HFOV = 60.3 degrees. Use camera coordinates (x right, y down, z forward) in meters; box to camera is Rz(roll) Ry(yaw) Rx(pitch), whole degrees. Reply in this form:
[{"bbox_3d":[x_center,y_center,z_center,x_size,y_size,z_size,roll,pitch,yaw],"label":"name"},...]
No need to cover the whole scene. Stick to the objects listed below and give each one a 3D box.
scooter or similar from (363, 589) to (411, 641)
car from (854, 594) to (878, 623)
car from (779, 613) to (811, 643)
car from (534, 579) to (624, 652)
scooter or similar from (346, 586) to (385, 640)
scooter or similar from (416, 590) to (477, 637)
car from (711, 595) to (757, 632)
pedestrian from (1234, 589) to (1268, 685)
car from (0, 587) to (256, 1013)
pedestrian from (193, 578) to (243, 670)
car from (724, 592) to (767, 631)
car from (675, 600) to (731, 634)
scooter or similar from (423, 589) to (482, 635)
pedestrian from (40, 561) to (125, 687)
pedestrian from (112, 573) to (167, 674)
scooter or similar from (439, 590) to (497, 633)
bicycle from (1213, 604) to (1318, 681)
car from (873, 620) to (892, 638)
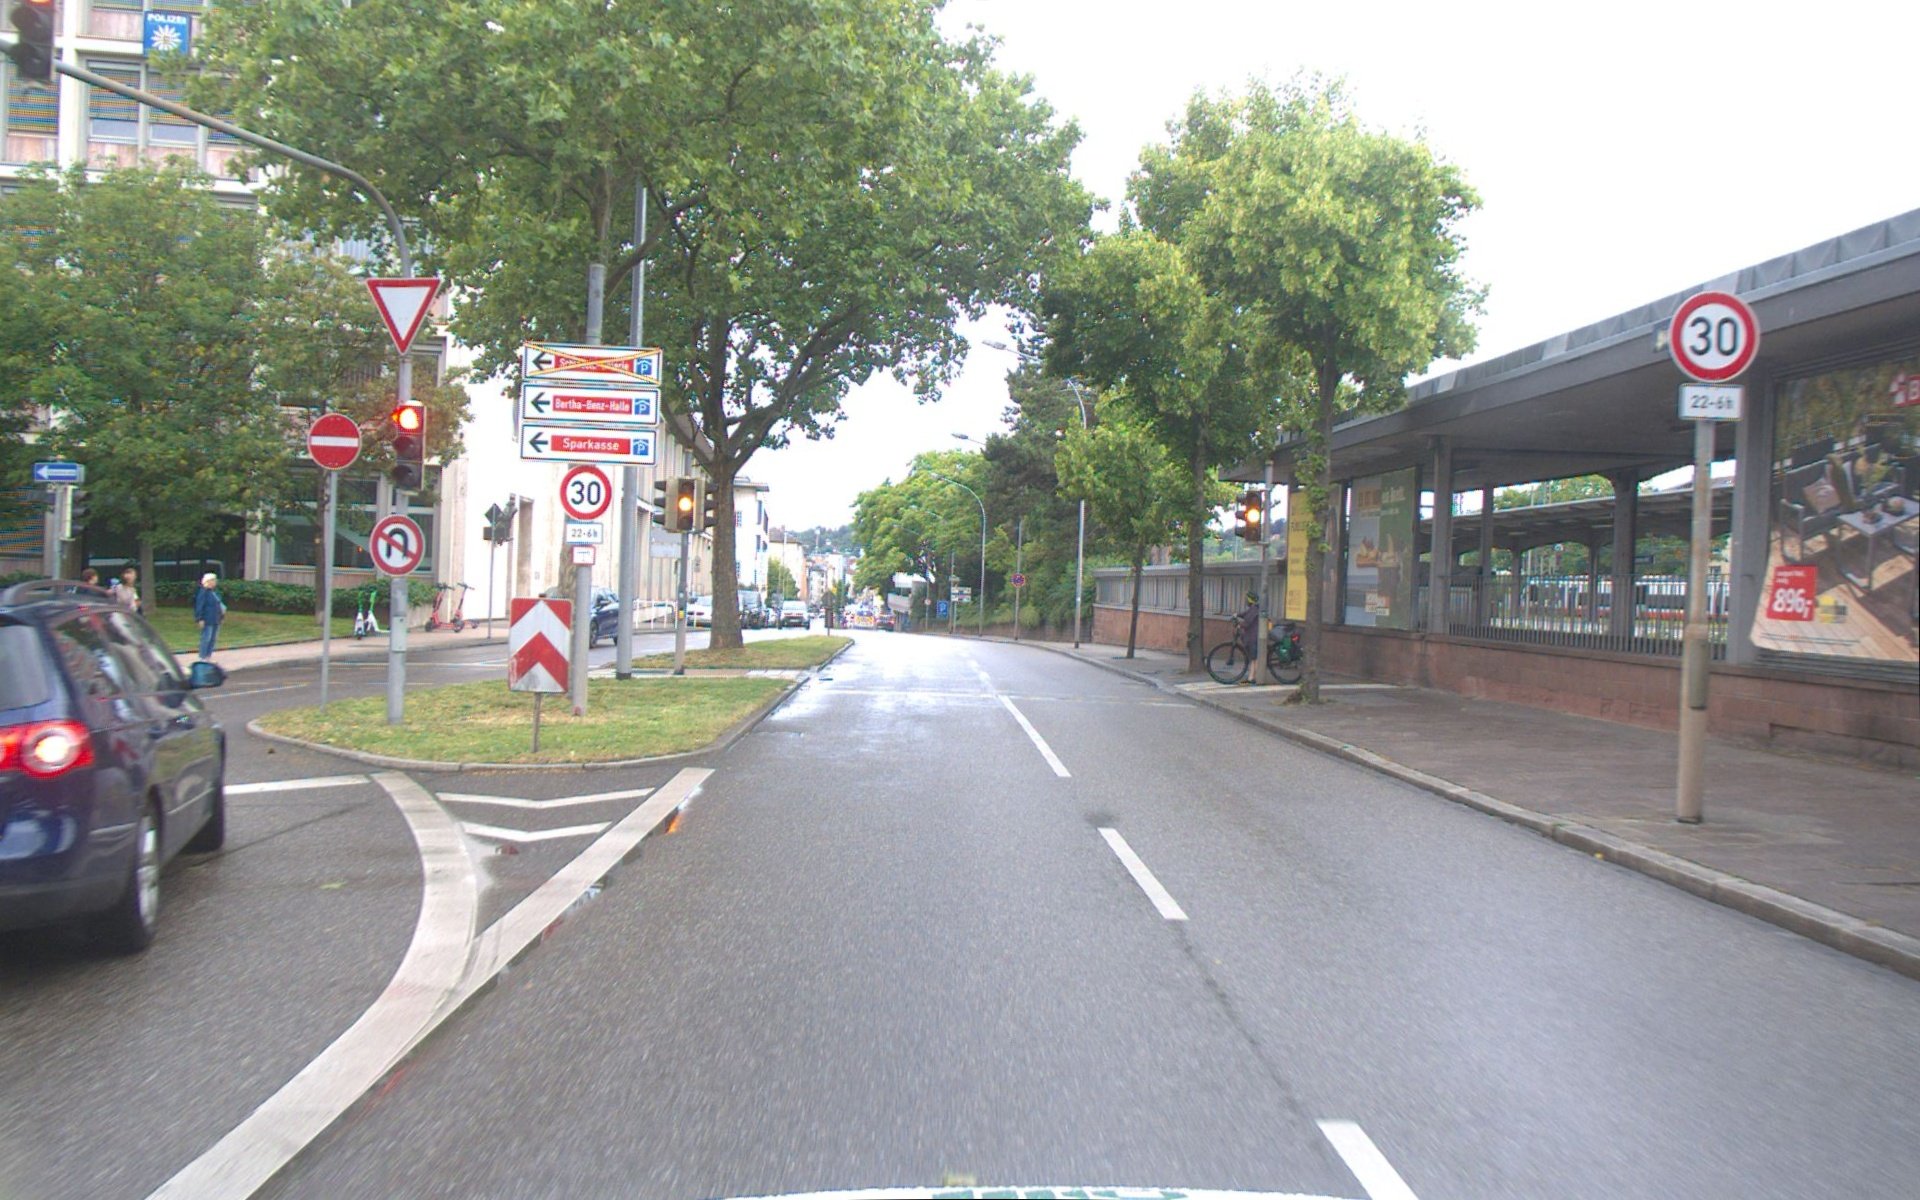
[{"bbox_3d":[-13.644,0.347,39.429,0.558,1.213,1.574,1,0,1],"label":"scooter or similar"},{"bbox_3d":[-8.732,0.762,153.816,2.219,2.703,3.997,0,0,-4],"label":"car"},{"bbox_3d":[-9.548,1.596,95.952,1.786,1.689,4.333,1,0,-5],"label":"car"},{"bbox_3d":[-9.054,0.331,39.539,1.808,1.534,4.093,3,0,-10],"label":"car"},{"bbox_3d":[-13.580,0.289,37.816,0.479,1.188,1.500,1,0,-6],"label":"scooter or similar"},{"bbox_3d":[-13.457,0.357,43.373,0.596,1.213,1.525,1,0,31],"label":"scooter or similar"},{"bbox_3d":[-11.042,0.648,81.011,1.761,1.705,4.601,2,-1,-2],"label":"car"},{"bbox_3d":[4.897,0.609,27.820,0.448,1.596,0.392,0,0,30],"label":"pedestrian"},{"bbox_3d":[-4.389,0.657,7.496,1.787,1.434,4.392,1,0,-18],"label":"car"},{"bbox_3d":[-13.339,0.426,29.750,0.642,1.631,0.922,1,0,-13],"label":"pedestrian"},{"bbox_3d":[-11.555,0.633,89.314,1.910,1.978,4.992,2,-1,-3],"label":"car"},{"bbox_3d":[-10.801,0.701,69.715,1.657,1.320,4.092,2,-1,0],"label":"car"},{"bbox_3d":[-13.700,0.326,44.680,0.596,1.213,1.525,1,0,31],"label":"scooter or similar"},{"bbox_3d":[-14.792,0.402,27.899,0.915,2.081,0.874,1,0,5],"label":"pedestrian"},{"bbox_3d":[-14.384,0.409,29.019,0.641,1.740,0.795,1,0,-10],"label":"pedestrian"},{"bbox_3d":[-13.669,0.315,46.006,0.596,1.184,1.525,1,0,31],"label":"scooter or similar"},{"bbox_3d":[5.171,0.718,28.046,1.687,1.271,0.485,-1,0,30],"label":"bicycle"},{"bbox_3d":[-8.577,3.197,182.334,2.050,1.944,4.096,0,0,-4],"label":"car"}]
